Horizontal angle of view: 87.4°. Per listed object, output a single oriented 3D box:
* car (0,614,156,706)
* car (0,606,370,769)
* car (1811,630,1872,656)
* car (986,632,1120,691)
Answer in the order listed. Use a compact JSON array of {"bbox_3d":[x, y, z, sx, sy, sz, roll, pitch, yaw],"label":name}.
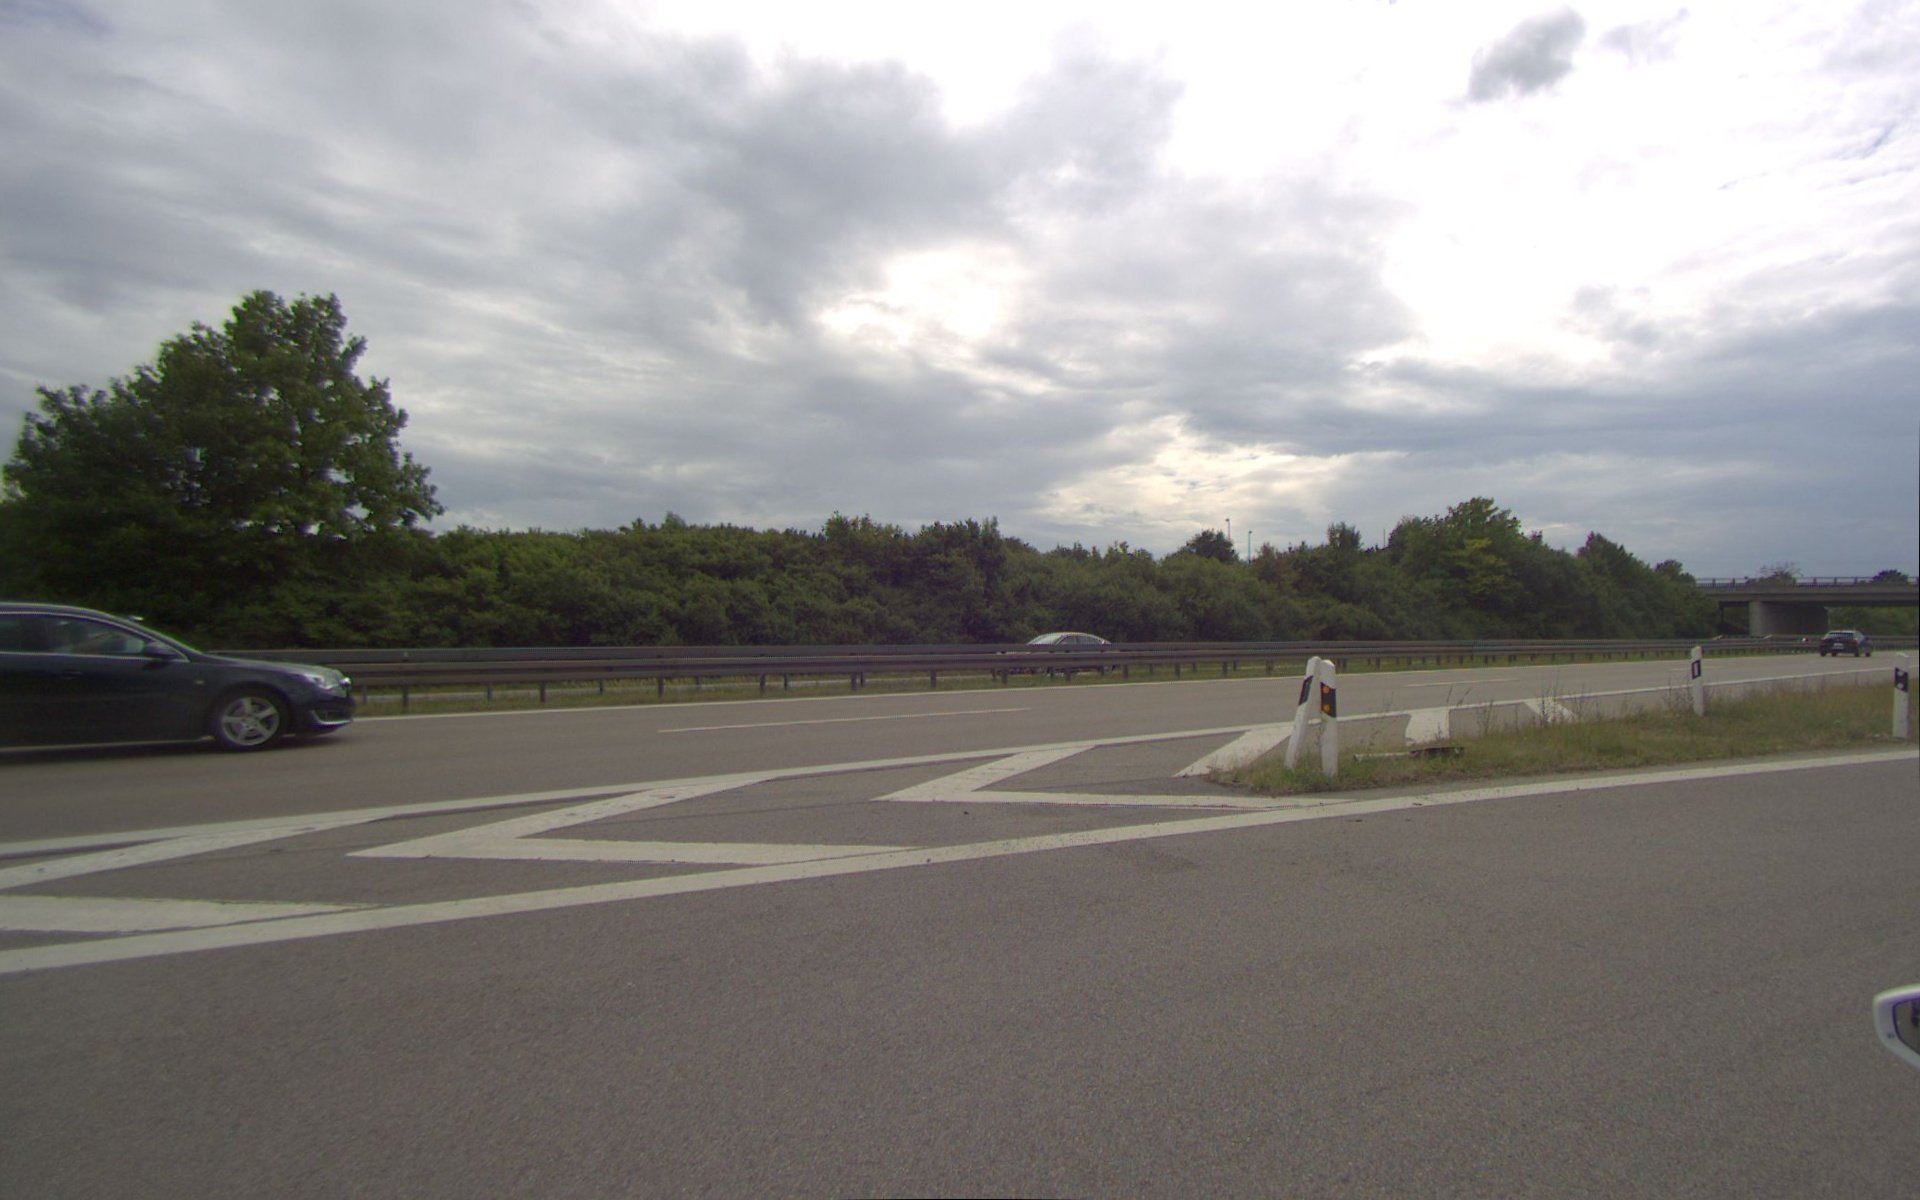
[{"bbox_3d":[-17.882,1.113,19.127,3.965,1.673,1.978,1,-2,-38],"label":"car"},{"bbox_3d":[-8.651,0.799,9.867,4.754,1.442,1.709,1,-2,-38],"label":"car"},{"bbox_3d":[49.987,2.414,56.966,4.266,1.417,1.767,1,-2,-37],"label":"car"},{"bbox_3d":[2.921,1.852,31.135,3.968,1.706,1.977,2,-2,-40],"label":"car"}]
